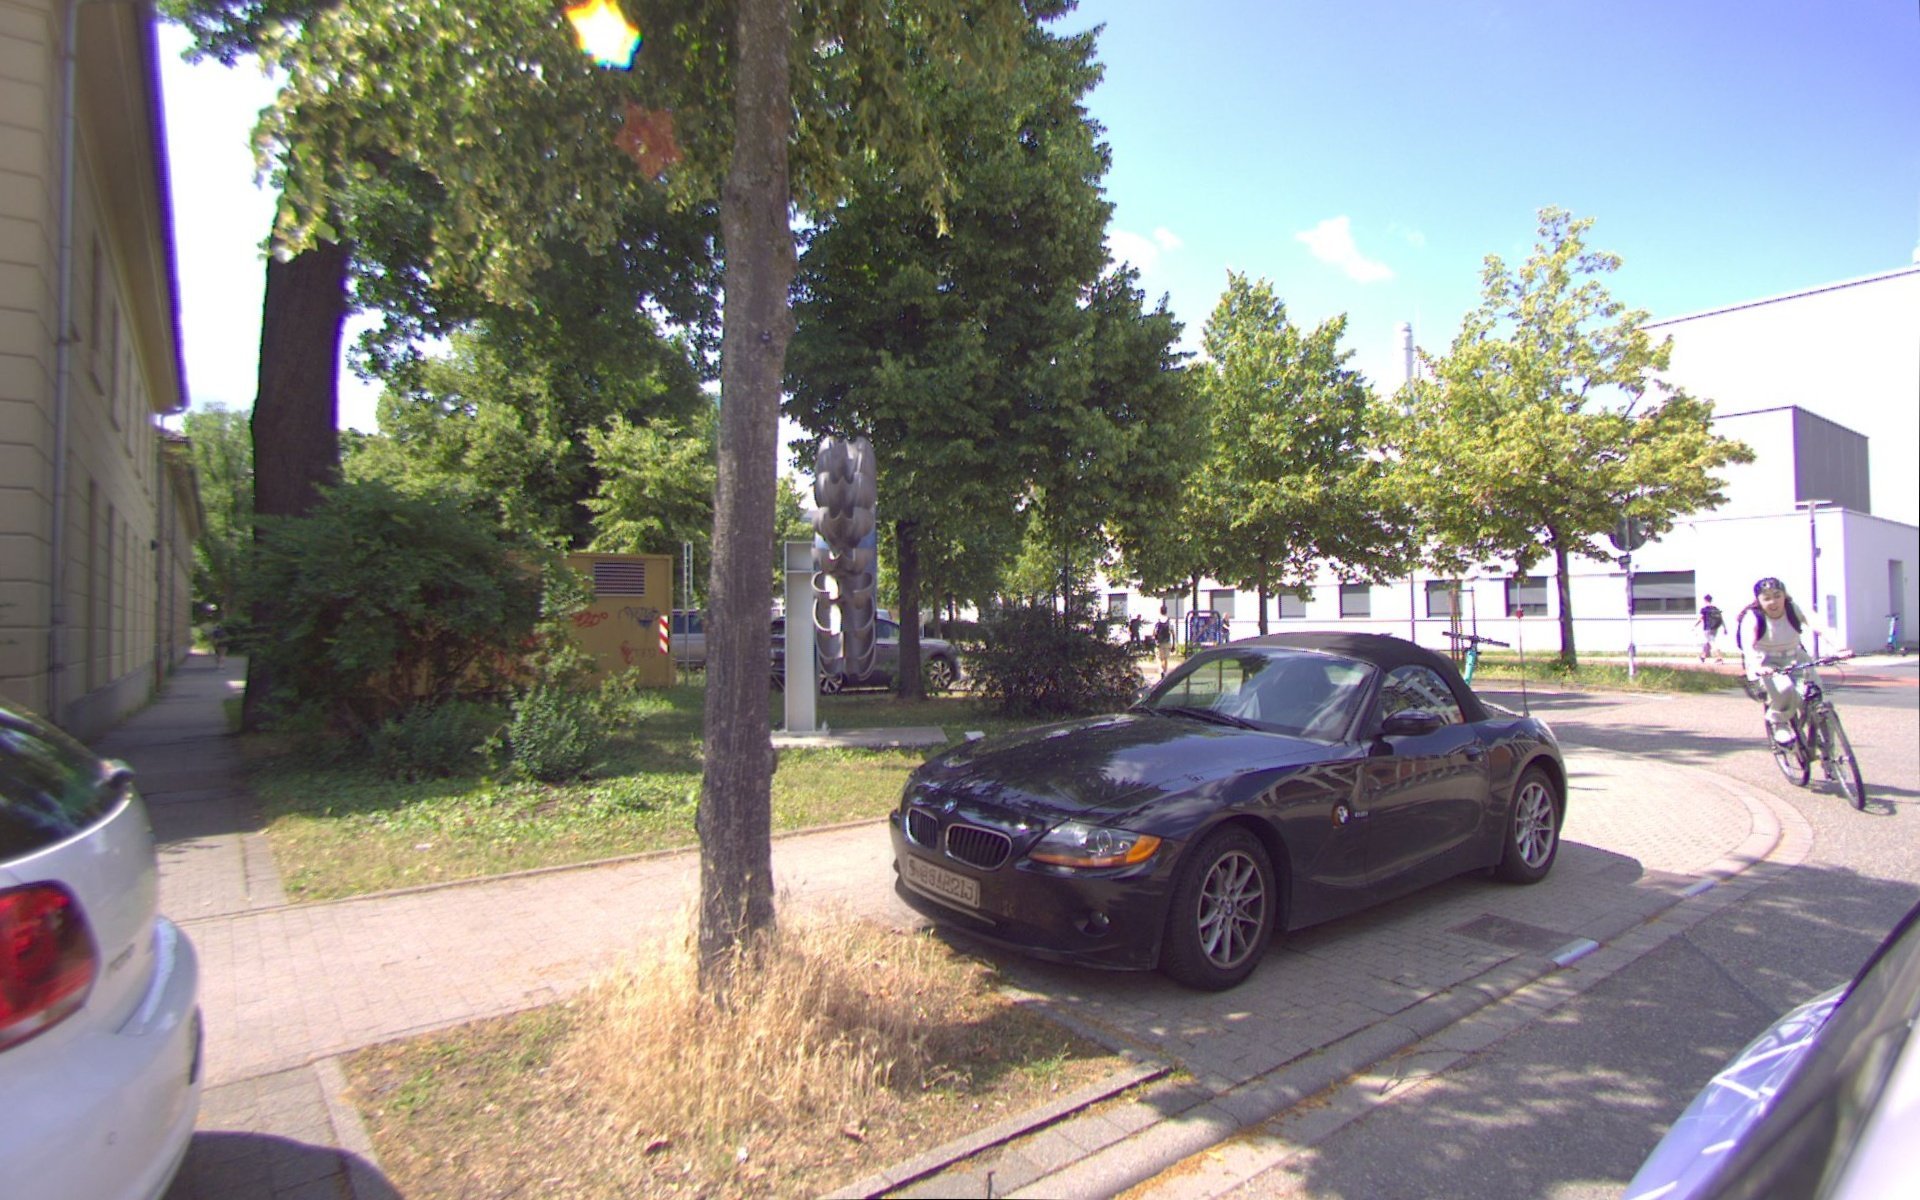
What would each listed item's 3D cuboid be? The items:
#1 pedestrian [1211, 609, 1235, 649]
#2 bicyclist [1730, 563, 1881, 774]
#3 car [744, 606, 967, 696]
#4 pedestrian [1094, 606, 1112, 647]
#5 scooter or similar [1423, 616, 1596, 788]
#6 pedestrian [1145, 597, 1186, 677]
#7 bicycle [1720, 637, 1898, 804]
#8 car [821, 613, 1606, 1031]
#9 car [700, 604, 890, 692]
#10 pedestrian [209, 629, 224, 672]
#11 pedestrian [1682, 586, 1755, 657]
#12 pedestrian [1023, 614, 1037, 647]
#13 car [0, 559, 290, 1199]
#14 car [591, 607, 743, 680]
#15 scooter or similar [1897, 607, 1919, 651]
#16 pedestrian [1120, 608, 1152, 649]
[{"bbox_3d":[11.256,1.236,43.370,0.617,1.710,0.724,0,-2,-38],"label":"pedestrian"},{"bbox_3d":[6.479,0.487,7.813,0.670,1.497,1.051,-3,-1,31],"label":"bicyclist"},{"bbox_3d":[-2.108,1.014,21.035,4.283,1.673,1.893,1,-3,-39],"label":"car"},{"bbox_3d":[6.372,1.179,45.101,0.700,1.793,0.826,-1,-2,13],"label":"pedestrian"},{"bbox_3d":[4.487,0.788,8.251,1.354,1.270,0.555,-1,-2,-29],"label":"scooter or similar"},{"bbox_3d":[4.592,0.822,22.614,0.629,1.767,0.582,0,-2,-35],"label":"pedestrian"},{"bbox_3d":[6.576,0.865,7.954,0.670,1.086,2.113,-3,-2,30],"label":"bicycle"},{"bbox_3d":[1.450,0.753,5.116,3.925,1.297,1.712,0,-2,-36],"label":"car"},{"bbox_3d":[-3.761,1.043,23.305,3.927,1.861,1.822,0,-2,-39],"label":"car"},{"bbox_3d":[-32.030,2.156,43.581,0.470,1.834,0.530,0,-2,-40],"label":"pedestrian"},{"bbox_3d":[20.056,0.567,26.796,1.000,1.823,1.173,1,-1,-8],"label":"pedestrian"},{"bbox_3d":[3.590,1.571,51.948,0.714,1.678,0.714,-1,-2,4],"label":"pedestrian"},{"bbox_3d":[-3.173,0.701,1.131,3.917,1.485,1.590,0,-2,-39],"label":"car"},{"bbox_3d":[-8.842,1.255,30.592,3.976,2.040,1.999,0,-2,-36],"label":"car"},{"bbox_3d":[27.392,0.818,29.133,1.053,1.252,0.327,0,-2,-34],"label":"scooter or similar"},{"bbox_3d":[7.751,1.258,44.589,0.779,1.799,1.095,0,-2,-32],"label":"pedestrian"}]
